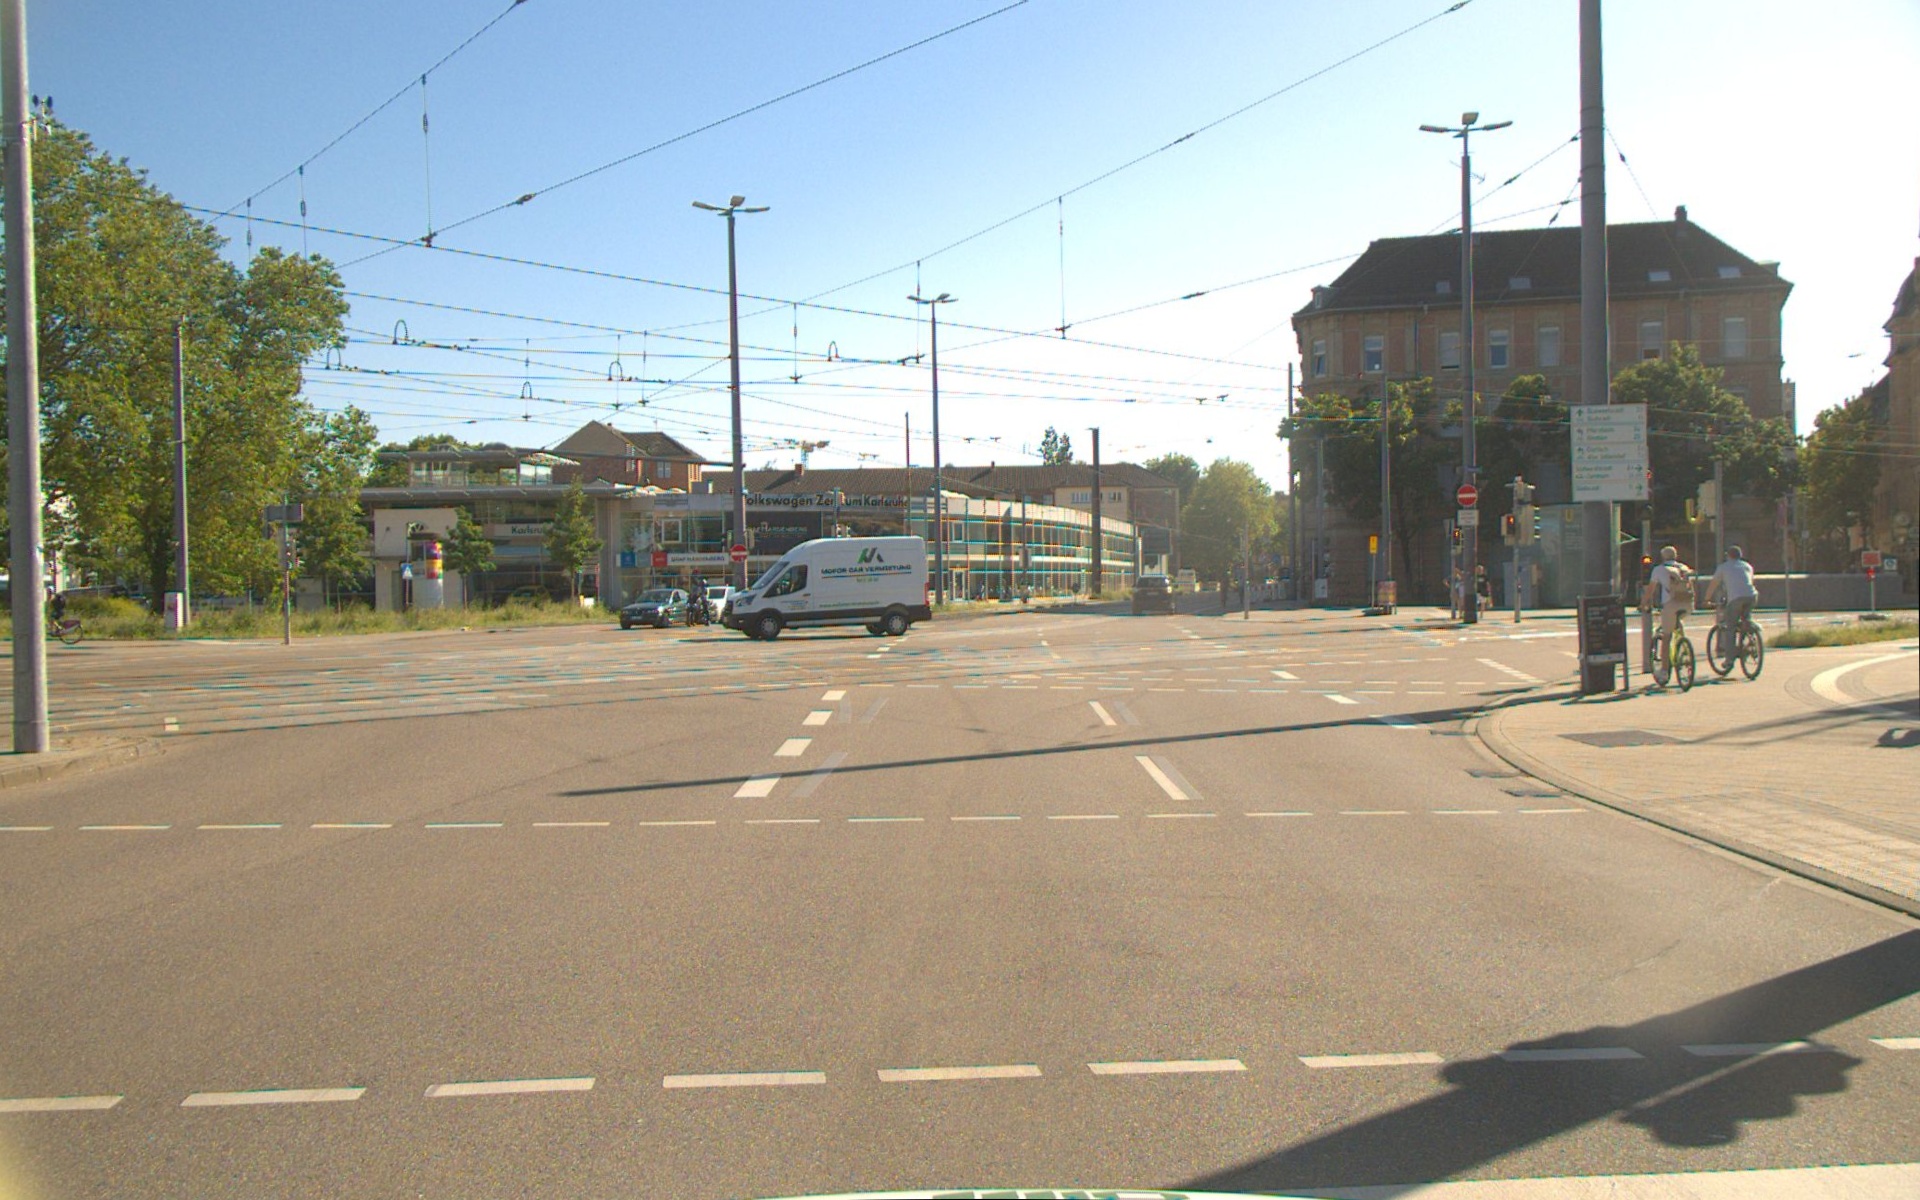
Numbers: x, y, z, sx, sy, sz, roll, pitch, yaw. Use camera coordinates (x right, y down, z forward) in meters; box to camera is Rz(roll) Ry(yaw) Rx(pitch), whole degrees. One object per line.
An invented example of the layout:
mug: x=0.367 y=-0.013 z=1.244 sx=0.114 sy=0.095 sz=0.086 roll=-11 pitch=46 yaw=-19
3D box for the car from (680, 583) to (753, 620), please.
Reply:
car: x=-9.786 y=0.041 z=66.671 sx=1.591 sy=1.448 sz=3.689 roll=-1 pitch=1 yaw=14

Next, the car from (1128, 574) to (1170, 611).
car: x=8.182 y=-0.340 z=71.300 sx=1.663 sy=1.529 sz=4.268 roll=-1 pitch=1 yaw=8

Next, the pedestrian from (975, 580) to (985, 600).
pedestrian: x=1.268 y=-0.638 z=105.237 sx=0.414 sy=1.225 sz=0.680 roll=-1 pitch=0 yaw=22

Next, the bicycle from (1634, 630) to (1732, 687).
bicycle: x=9.648 y=0.767 z=22.127 sx=0.526 sy=0.667 sz=1.725 roll=-3 pitch=0 yaw=0

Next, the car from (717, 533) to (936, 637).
car: x=-3.773 y=-0.455 z=46.869 sx=5.818 sy=2.792 sz=2.132 roll=-1 pitch=0 yaw=-20

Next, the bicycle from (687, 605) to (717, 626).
bicycle: x=-9.384 y=0.555 z=60.195 sx=0.413 sy=0.730 sz=1.636 roll=-1 pitch=1 yaw=16

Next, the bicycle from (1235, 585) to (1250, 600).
bicycle: x=17.587 y=-0.487 z=102.886 sx=0.727 sy=0.885 sz=1.933 roll=-1 pitch=0 yaw=14

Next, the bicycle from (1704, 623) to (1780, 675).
bicycle: x=11.160 y=0.688 z=23.647 sx=0.525 sy=0.667 sz=1.469 roll=-2 pitch=1 yaw=6

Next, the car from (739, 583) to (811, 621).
car: x=-7.234 y=0.075 z=64.828 sx=1.591 sy=1.406 sz=3.741 roll=-1 pitch=1 yaw=14

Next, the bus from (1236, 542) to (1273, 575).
bus: x=38.462 y=-5.321 z=215.305 sx=3.755 sy=3.670 sz=24.887 roll=1 pitch=0 yaw=12

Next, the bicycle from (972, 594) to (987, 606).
bicycle: x=1.260 y=0.004 z=105.198 sx=0.414 sy=0.730 sz=1.475 roll=-1 pitch=1 yaw=22

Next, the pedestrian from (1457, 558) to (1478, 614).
pedestrian: x=18.483 y=-0.513 z=60.265 sx=0.564 sy=2.049 sz=0.449 roll=-1 pitch=1 yaw=-19

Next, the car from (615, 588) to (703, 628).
car: x=-11.009 y=0.282 z=60.698 sx=1.667 sy=1.378 sz=3.703 roll=-1 pitch=1 yaw=16

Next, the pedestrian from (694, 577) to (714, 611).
pedestrian: x=-9.339 y=-0.206 z=60.401 sx=0.413 sy=1.225 sz=0.750 roll=-1 pitch=0 yaw=16

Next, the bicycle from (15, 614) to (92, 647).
bicycle: x=-27.122 y=0.909 z=49.496 sx=1.981 sy=0.929 sz=0.557 roll=-1 pitch=0 yaw=-28

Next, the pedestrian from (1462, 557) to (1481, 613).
pedestrian: x=18.861 y=-0.542 z=60.964 sx=0.453 sy=2.049 sz=0.449 roll=-1 pitch=1 yaw=-18

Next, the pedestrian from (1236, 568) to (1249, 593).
pedestrian: x=17.563 y=-1.195 z=102.826 sx=0.730 sy=1.549 sz=0.719 roll=-1 pitch=0 yaw=14

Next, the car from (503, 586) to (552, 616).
car: x=-25.972 y=0.044 z=99.474 sx=1.926 sy=1.735 sz=4.083 roll=-1 pitch=1 yaw=-1

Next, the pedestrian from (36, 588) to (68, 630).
pedestrian: x=-27.161 y=0.255 z=49.480 sx=0.784 sy=1.225 sz=0.555 roll=-1 pitch=0 yaw=-27

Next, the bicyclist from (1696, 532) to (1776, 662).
bicyclist: x=11.120 y=-0.048 z=23.715 sx=0.731 sy=1.809 sz=0.925 roll=-2 pitch=0 yaw=6

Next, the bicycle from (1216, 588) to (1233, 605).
bicycle: x=14.019 y=-0.197 z=87.560 sx=0.727 sy=0.885 sz=1.933 roll=-1 pitch=0 yaw=13

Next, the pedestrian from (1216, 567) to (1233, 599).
pedestrian: x=14.058 y=-0.898 z=87.949 sx=0.785 sy=1.660 sz=0.719 roll=-1 pitch=0 yaw=14

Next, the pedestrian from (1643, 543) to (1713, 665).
pedestrian: x=9.566 y=0.054 z=22.052 sx=0.537 sy=1.590 sz=0.858 roll=-1 pitch=0 yaw=0
